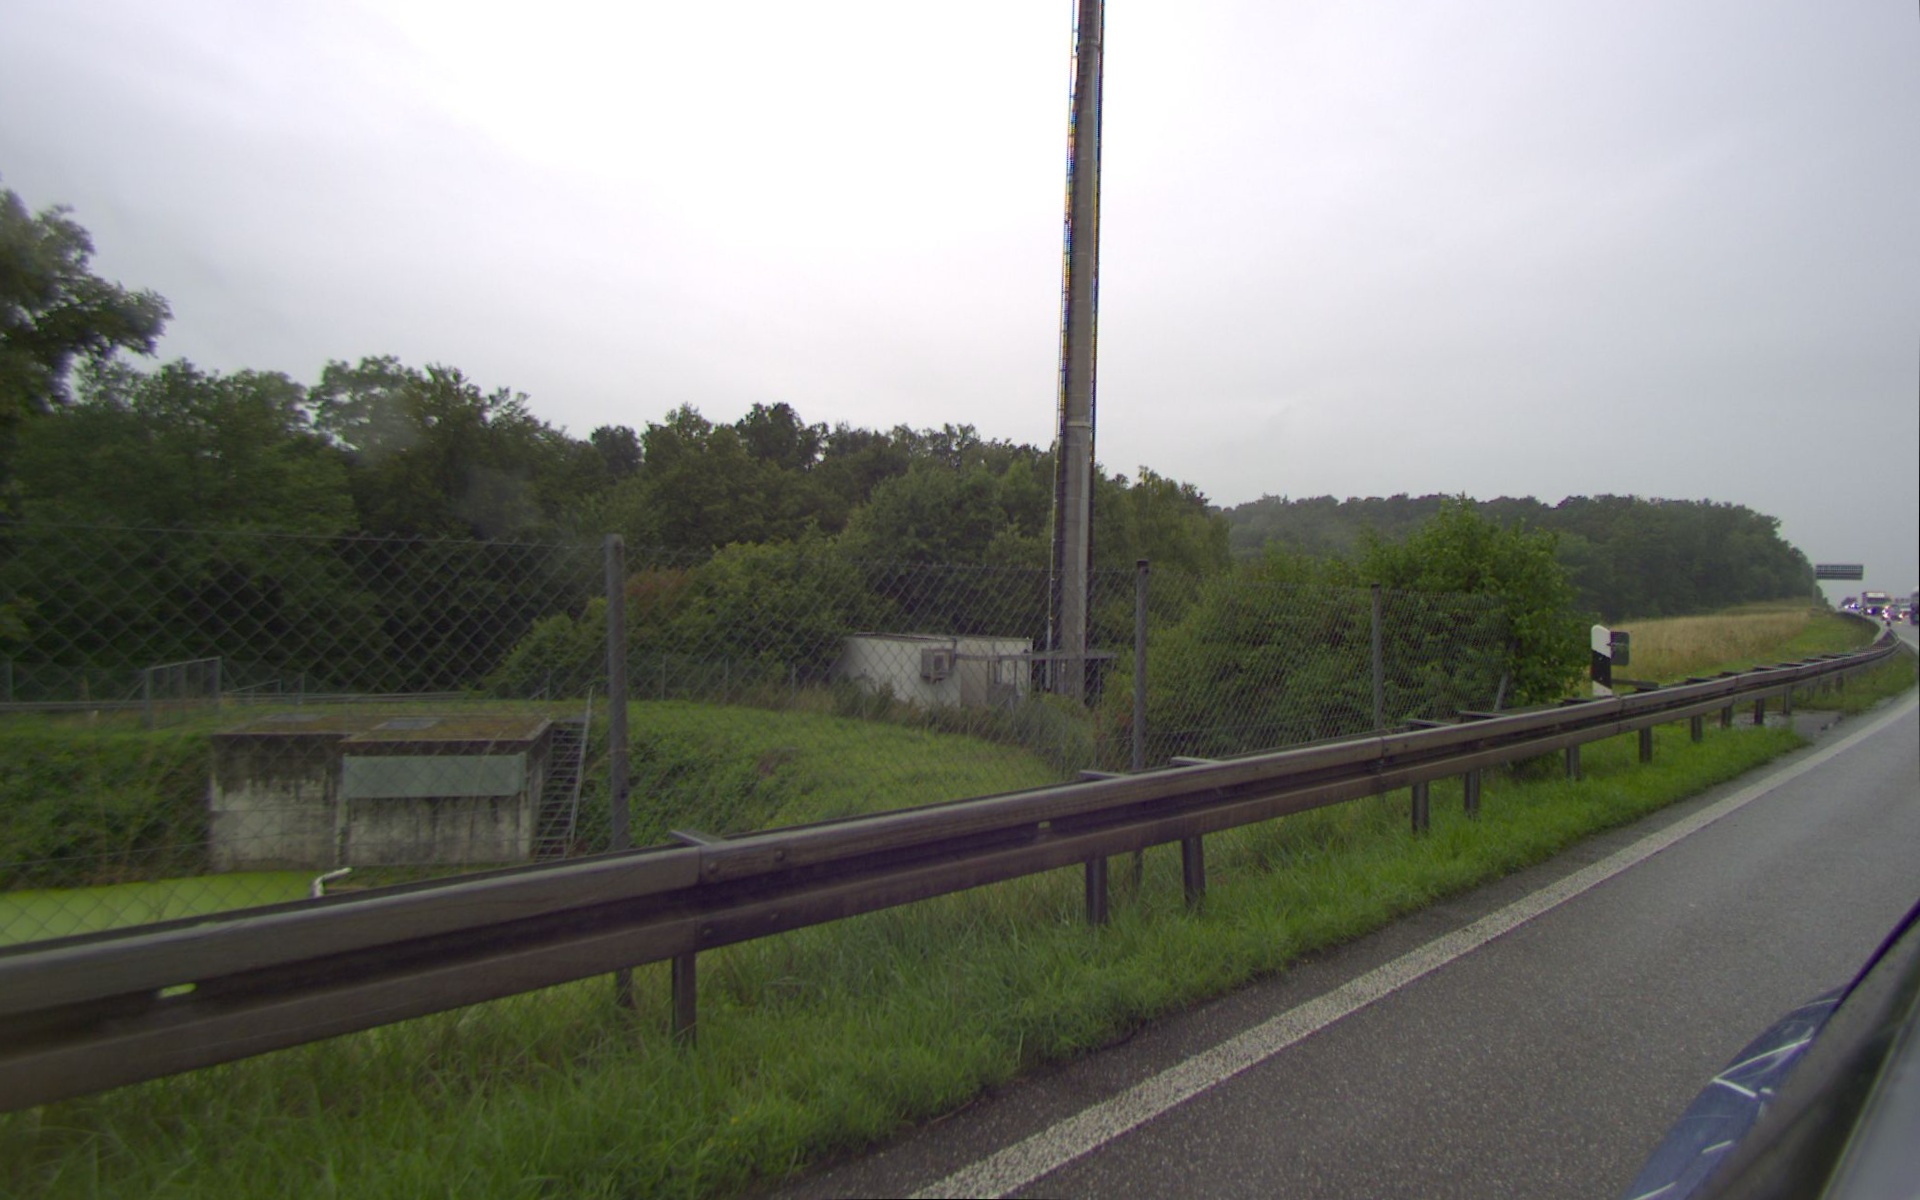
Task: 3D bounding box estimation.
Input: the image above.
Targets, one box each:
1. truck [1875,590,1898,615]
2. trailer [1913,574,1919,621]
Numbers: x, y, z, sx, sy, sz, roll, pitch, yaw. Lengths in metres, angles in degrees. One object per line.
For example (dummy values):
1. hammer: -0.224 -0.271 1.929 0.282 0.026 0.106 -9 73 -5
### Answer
1. truck: 156.918 0.433 171.461 5.144 4.198 2.591 2 -2 -45
2. trailer: 83.261 -0.175 85.454 2.757 4.075 10.890 4 2 38
